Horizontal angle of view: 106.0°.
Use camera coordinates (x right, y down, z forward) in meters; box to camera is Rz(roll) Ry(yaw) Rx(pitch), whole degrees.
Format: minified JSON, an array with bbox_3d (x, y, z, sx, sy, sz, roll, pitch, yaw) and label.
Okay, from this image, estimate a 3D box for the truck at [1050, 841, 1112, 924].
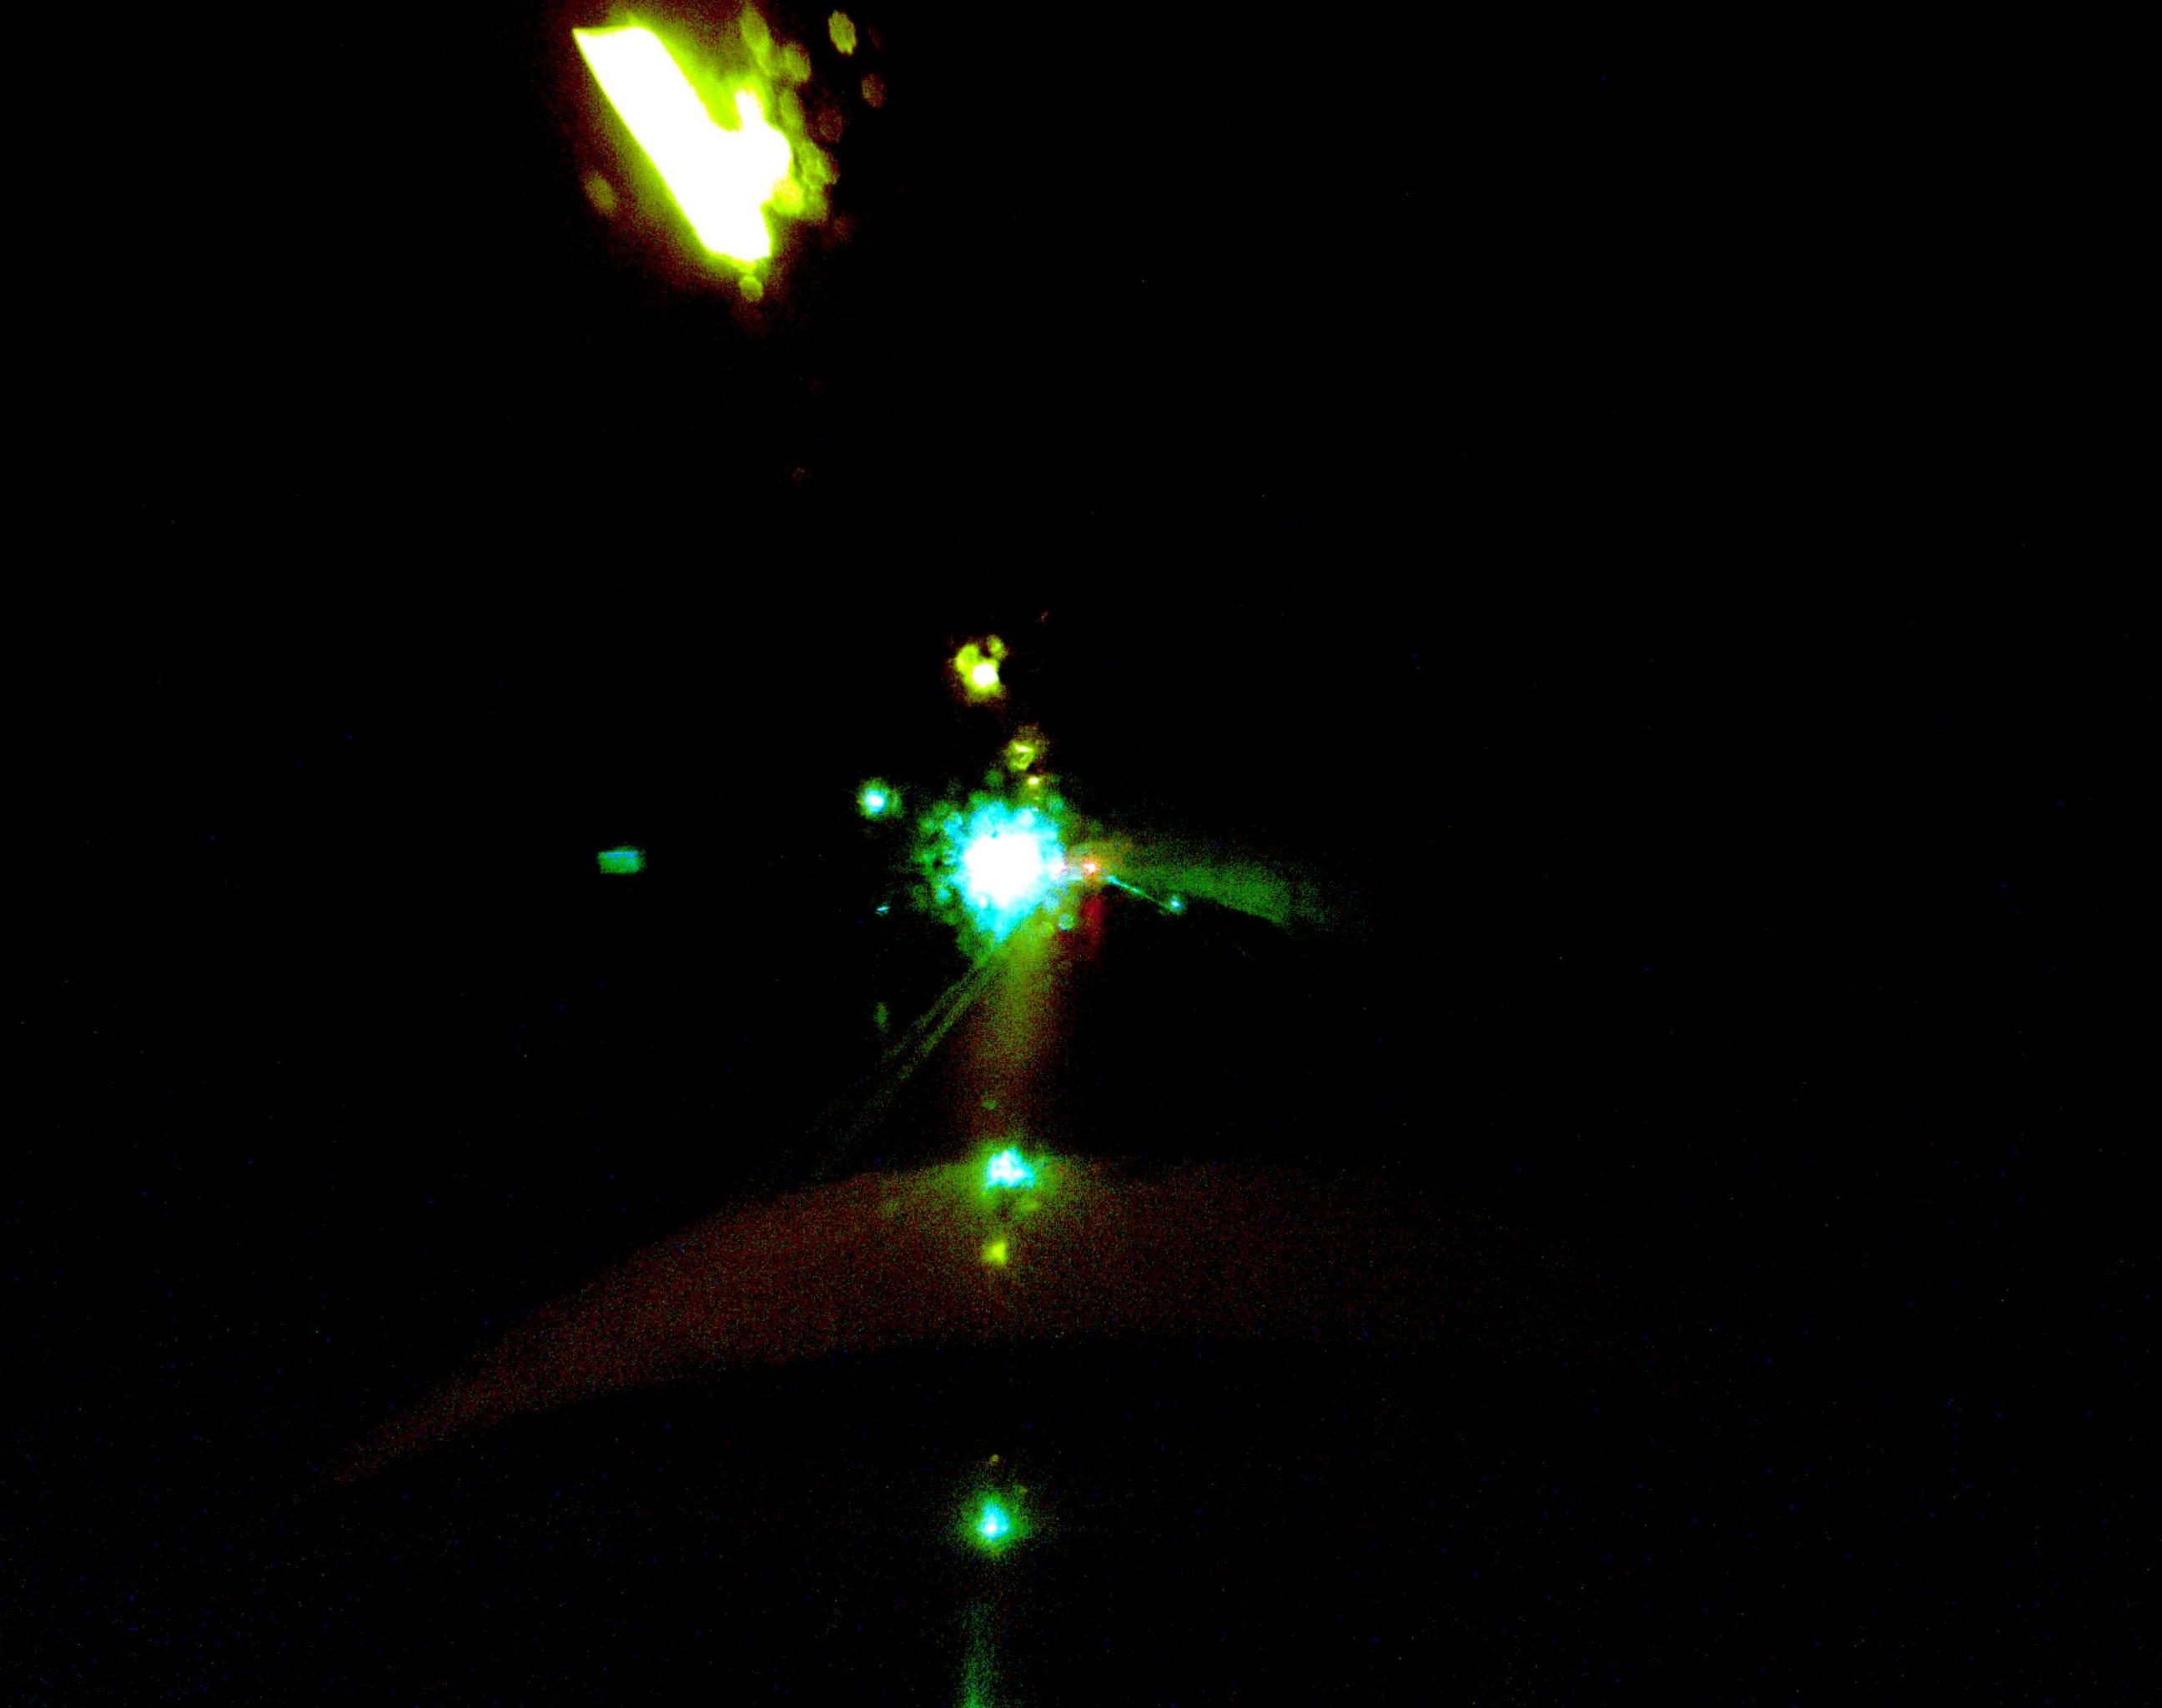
[{"bbox_3d":[-0.020,1.083,34.021,2.255,3.011,7.412,2,0,0],"label":"truck"}]
